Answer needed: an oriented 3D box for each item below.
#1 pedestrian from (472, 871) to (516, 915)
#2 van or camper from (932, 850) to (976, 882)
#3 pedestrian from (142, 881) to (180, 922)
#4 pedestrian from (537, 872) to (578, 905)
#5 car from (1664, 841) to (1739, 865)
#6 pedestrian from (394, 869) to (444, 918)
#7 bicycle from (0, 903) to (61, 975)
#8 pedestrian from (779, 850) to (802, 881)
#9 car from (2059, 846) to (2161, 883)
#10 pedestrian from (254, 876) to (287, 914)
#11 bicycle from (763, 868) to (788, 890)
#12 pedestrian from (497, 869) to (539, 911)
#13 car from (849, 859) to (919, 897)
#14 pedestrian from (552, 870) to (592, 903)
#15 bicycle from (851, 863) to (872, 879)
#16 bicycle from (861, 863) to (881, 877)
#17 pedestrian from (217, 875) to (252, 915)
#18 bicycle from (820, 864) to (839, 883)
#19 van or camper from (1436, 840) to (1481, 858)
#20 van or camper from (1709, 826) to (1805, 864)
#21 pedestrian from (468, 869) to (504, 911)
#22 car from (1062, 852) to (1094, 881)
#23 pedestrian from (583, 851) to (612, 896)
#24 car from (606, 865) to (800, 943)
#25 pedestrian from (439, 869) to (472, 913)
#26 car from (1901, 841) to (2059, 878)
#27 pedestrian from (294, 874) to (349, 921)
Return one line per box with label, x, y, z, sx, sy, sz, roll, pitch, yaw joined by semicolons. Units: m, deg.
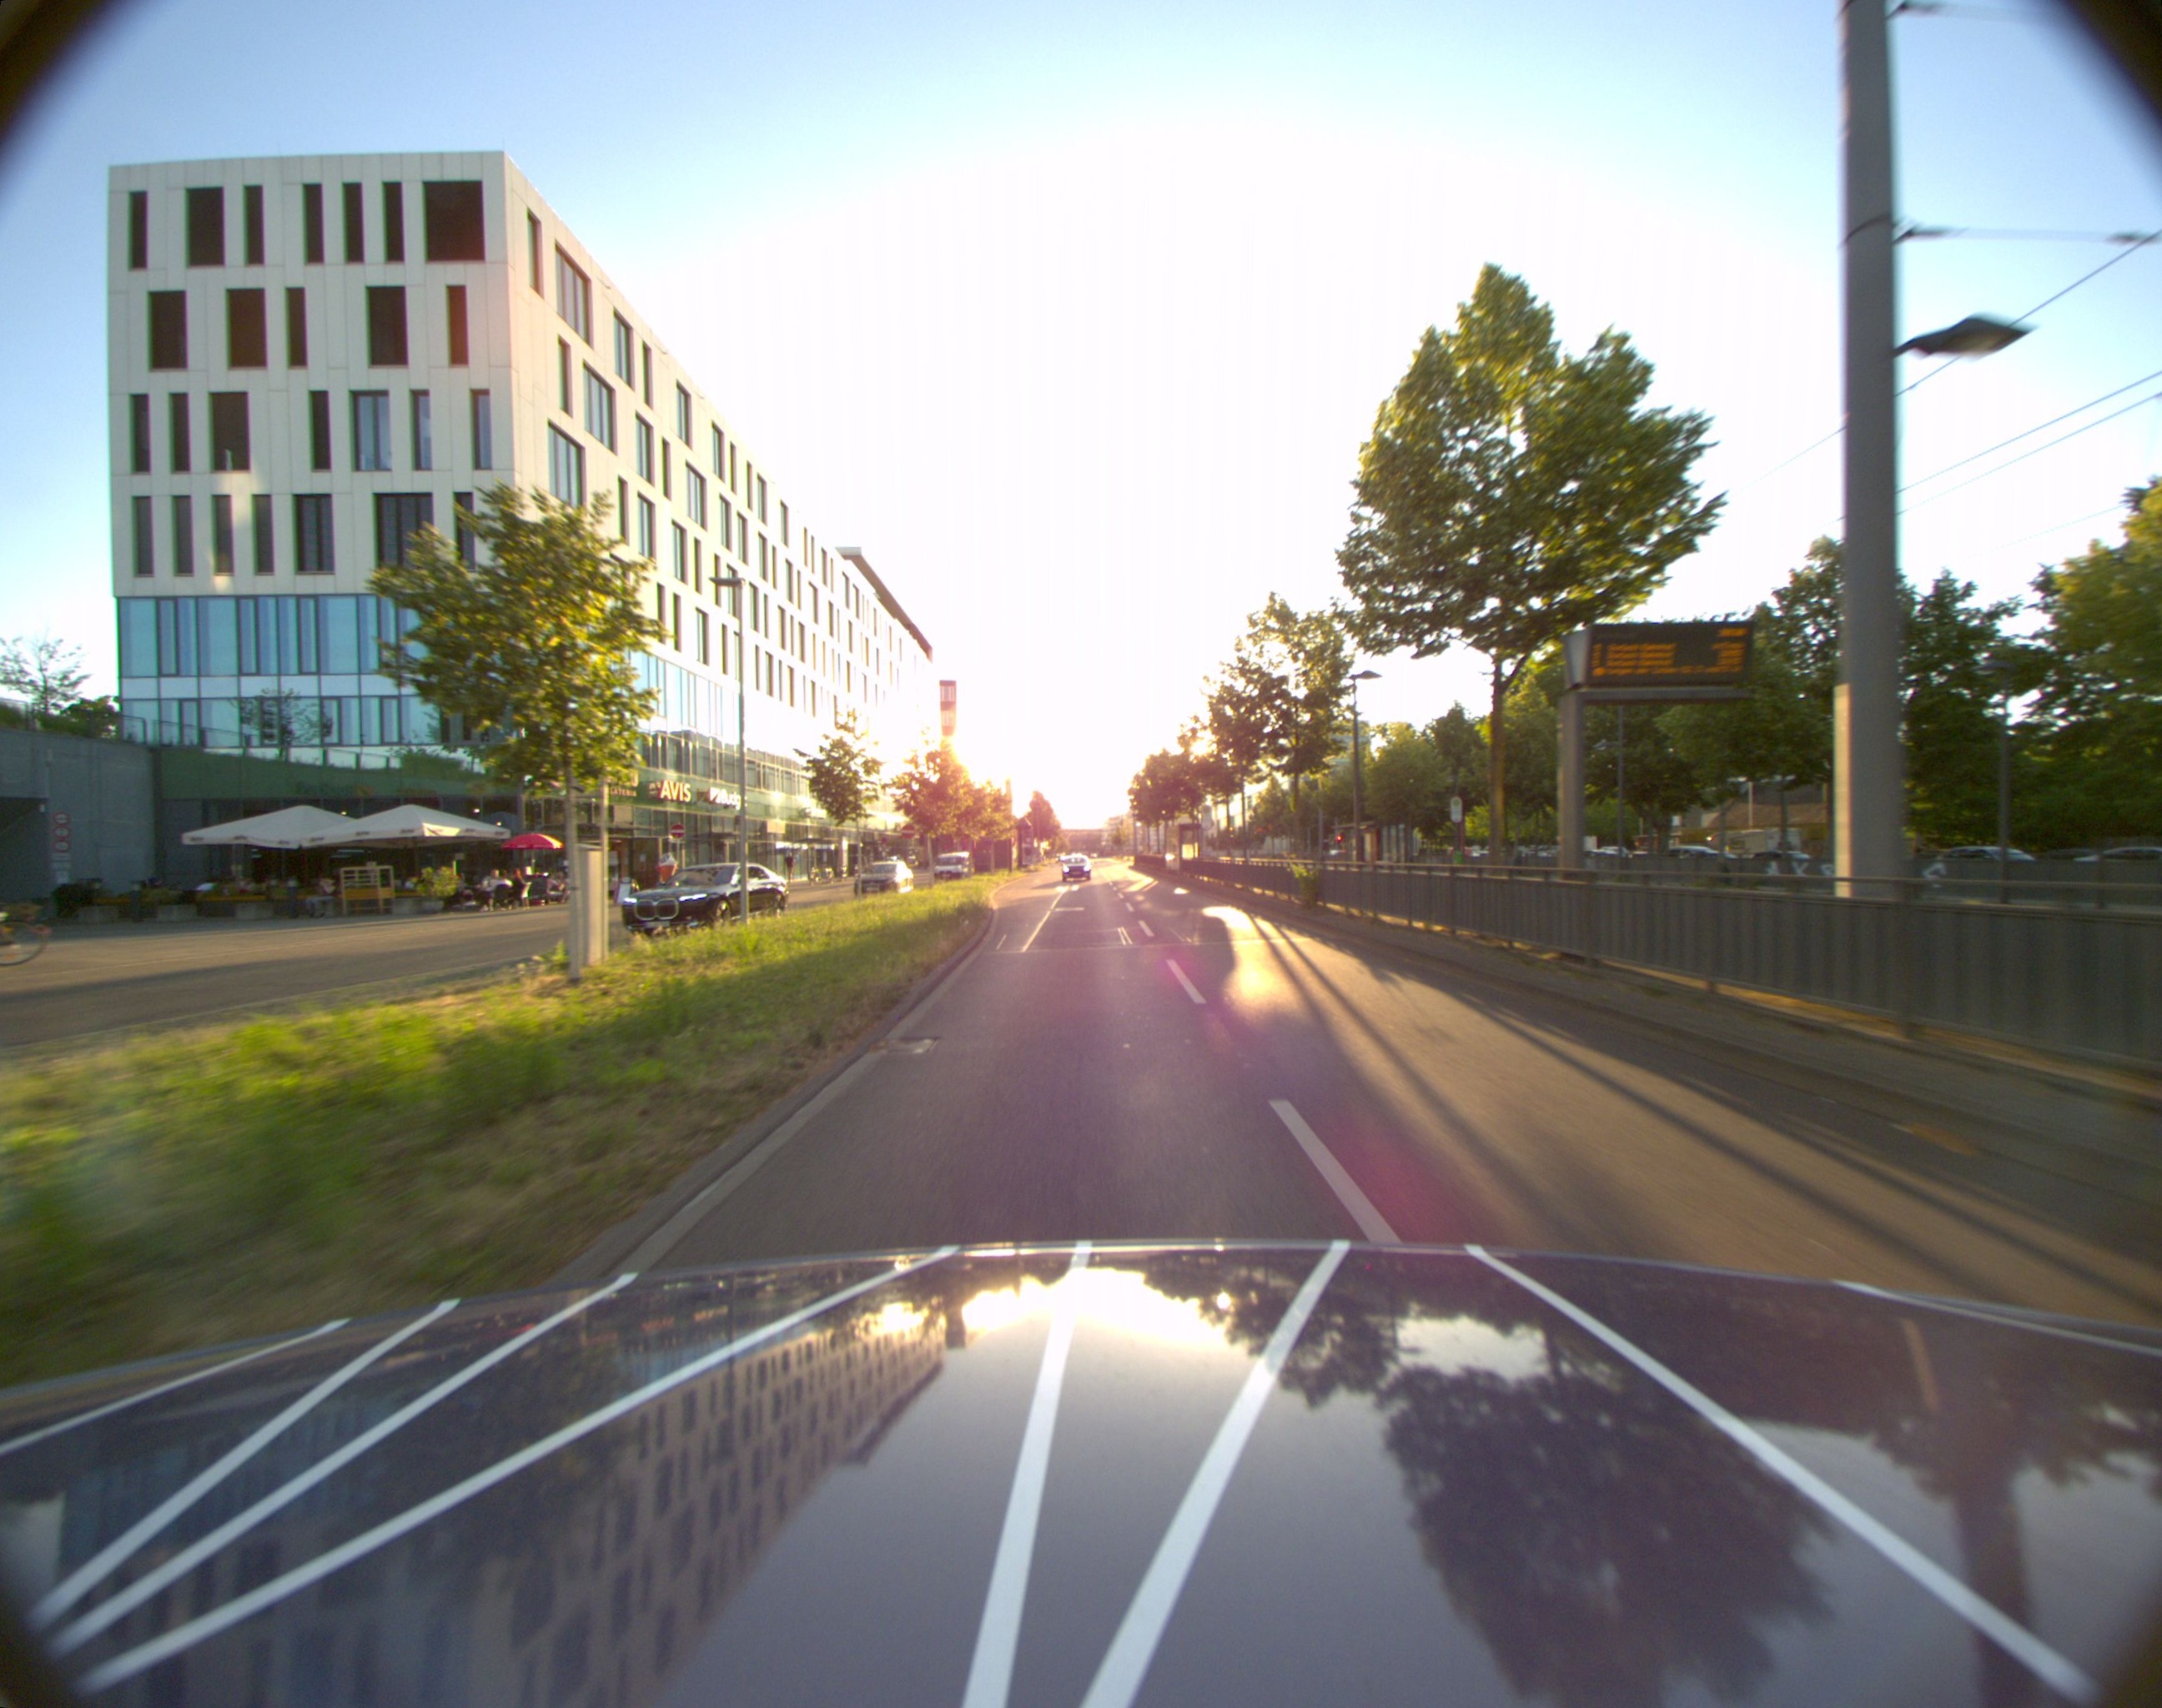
pedestrian;-17.687;1.171;22.888;0.782;1.283;0.685;1;1;7
van or camper;-8.334;0.768;50.310;1.963;1.908;4.830;-3;0;1
pedestrian;-27.873;1.438;23.034;0.475;1.208;0.535;-1;1;7
pedestrian;-18.383;1.204;26.689;0.975;1.119;0.685;1;1;1
car;41.456;-0.065;50.909;1.998;1.521;4.002;-1;0;6
pedestrian;-18.868;1.113;21.667;0.745;1.360;0.770;-1;1;-11
bicycle;-16.607;1.301;11.112;0.544;1.037;1.915;-1;1;20
pedestrian;-17.980;0.724;46.973;1.029;1.872;0.947;-1;1;0
car;36.658;0.349;25.701;1.998;1.194;4.090;-1;0;2
pedestrian;-26.312;1.320;24.673;0.475;1.208;0.535;-1;1;7
bicycle;-15.256;1.241;37.966;0.598;1.034;2.072;1;0;-6
pedestrian;-17.550;1.109;23.683;0.776;1.283;0.685;1;1;7
car;-8.443;0.979;32.964;1.813;1.492;4.479;-1;0;0
pedestrian;-18.383;1.165;27.447;0.975;1.119;0.685;1;1;1
bicycle;-15.239;1.171;52.694;0.530;1.034;1.919;1;0;12
bicycle;-15.343;1.160;55.568;0.530;1.034;1.878;1;0;12
pedestrian;-26.782;1.295;24.049;0.475;1.208;0.535;-1;1;7
bicycle;-15.346;1.198;46.488;0.388;1.102;2.148;2;0;1
van or camper;48.371;-0.667;97.453;4.879;2.002;2.002;-3;0;17
van or camper;48.392;-0.650;54.595;2.396;2.548;5.635;-1;0;7
pedestrian;-18.609;1.108;23.779;0.685;1.283;0.628;1;1;-12
car;-0.190;0.725;46.140;1.828;1.625;4.000;-1;0;0
pedestrian;-19.398;0.776;30.482;0.661;1.749;0.686;1;1;18
car;-8.765;1.064;18.312;1.924;1.492;5.411;-1;0;0
pedestrian;-18.801;1.106;22.854;0.664;1.283;0.683;1;1;-32
car;37.399;0.223;31.776;1.998;1.399;4.001;-1;0;3
pedestrian;-21.446;1.221;21.461;0.745;1.258;0.771;-1;1;1
